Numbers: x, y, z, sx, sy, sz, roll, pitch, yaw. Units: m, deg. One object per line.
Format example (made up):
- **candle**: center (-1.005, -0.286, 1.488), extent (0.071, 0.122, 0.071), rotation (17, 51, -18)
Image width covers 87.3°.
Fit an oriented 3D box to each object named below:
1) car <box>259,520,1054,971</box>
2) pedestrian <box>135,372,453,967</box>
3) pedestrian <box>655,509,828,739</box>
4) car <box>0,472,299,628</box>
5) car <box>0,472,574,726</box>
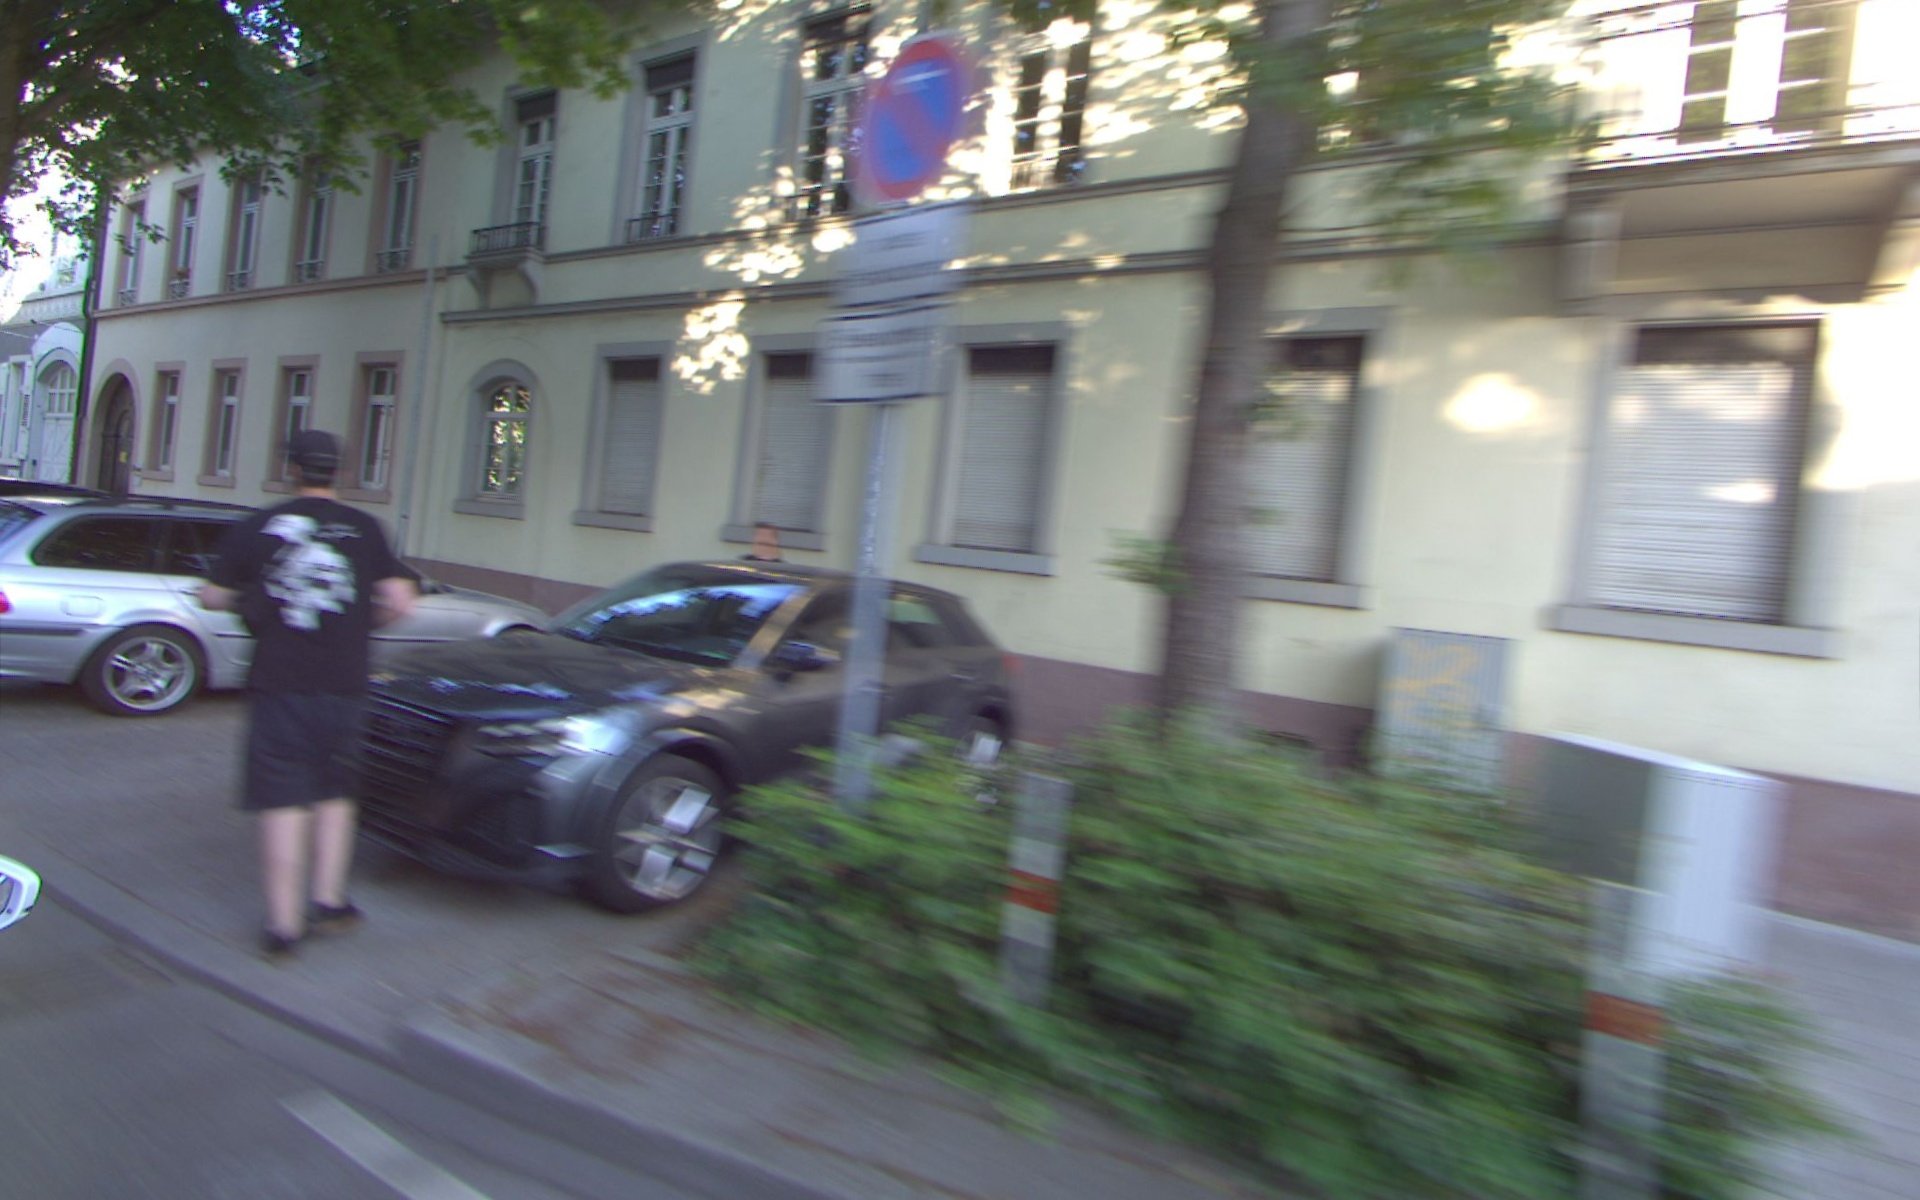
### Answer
- **car**: center (-1.224, 0.533, 5.708), extent (1.819, 1.510, 4.109), rotation (5, 1, 31)
- **pedestrian**: center (-2.467, 0.231, 3.715), extent (0.745, 1.892, 0.788), rotation (6, 2, -39)
- **pedestrian**: center (-1.802, 0.197, 8.354), extent (0.769, 1.728, 0.943), rotation (10, 3, 34)
- **car**: center (-10.165, -0.605, 11.405), extent (1.751, 1.499, 4.018), rotation (8, 1, 31)
- **car**: center (-5.514, -0.024, 8.055), extent (1.821, 1.500, 4.193), rotation (8, 2, 32)
